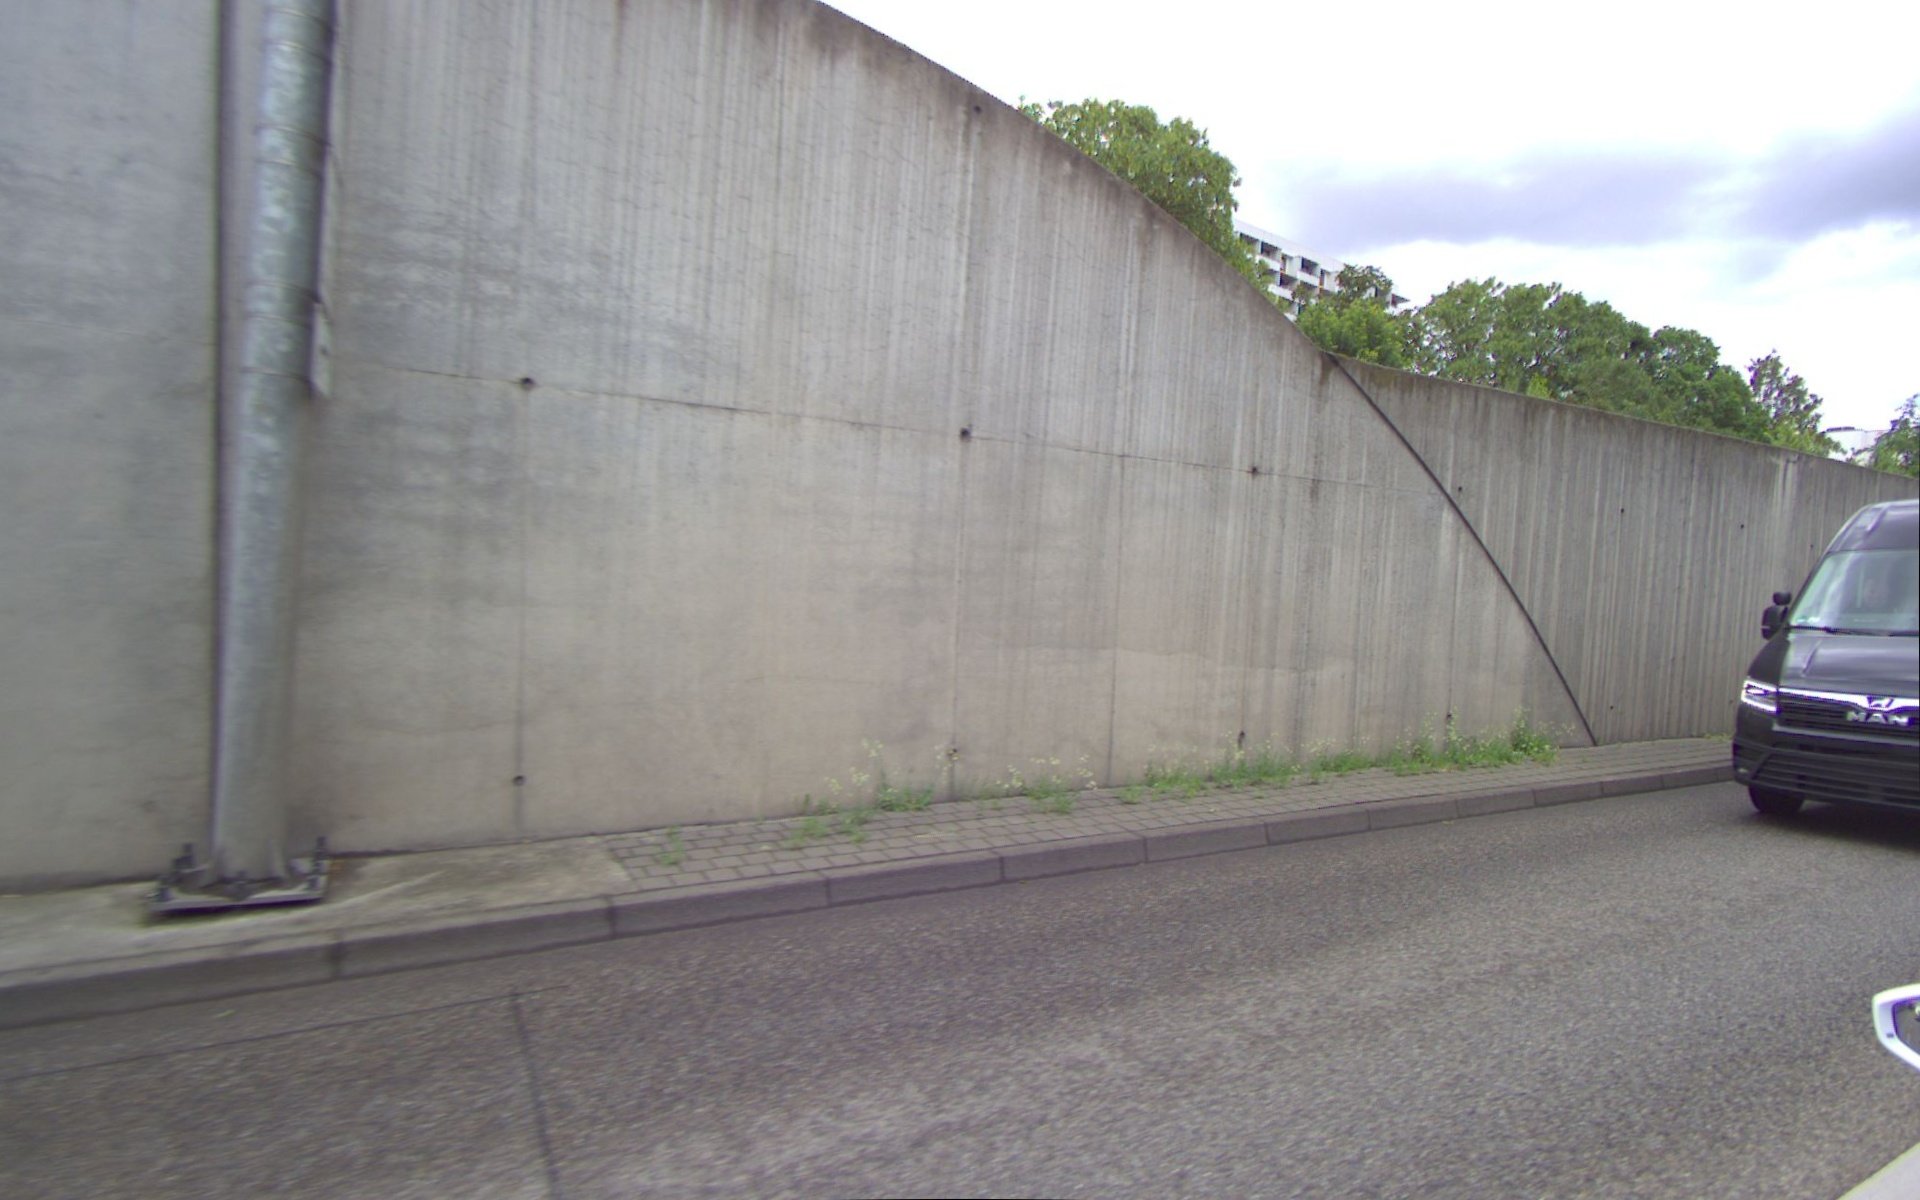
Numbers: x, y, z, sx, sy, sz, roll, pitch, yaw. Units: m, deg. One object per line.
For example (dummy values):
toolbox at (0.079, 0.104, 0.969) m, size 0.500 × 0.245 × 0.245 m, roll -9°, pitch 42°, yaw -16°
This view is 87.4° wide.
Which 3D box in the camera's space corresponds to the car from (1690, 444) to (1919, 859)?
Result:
car at (9.211, 0.407, 8.538) m, size 7.330 × 2.665 × 2.099 m, roll 1°, pitch 0°, yaw -31°
